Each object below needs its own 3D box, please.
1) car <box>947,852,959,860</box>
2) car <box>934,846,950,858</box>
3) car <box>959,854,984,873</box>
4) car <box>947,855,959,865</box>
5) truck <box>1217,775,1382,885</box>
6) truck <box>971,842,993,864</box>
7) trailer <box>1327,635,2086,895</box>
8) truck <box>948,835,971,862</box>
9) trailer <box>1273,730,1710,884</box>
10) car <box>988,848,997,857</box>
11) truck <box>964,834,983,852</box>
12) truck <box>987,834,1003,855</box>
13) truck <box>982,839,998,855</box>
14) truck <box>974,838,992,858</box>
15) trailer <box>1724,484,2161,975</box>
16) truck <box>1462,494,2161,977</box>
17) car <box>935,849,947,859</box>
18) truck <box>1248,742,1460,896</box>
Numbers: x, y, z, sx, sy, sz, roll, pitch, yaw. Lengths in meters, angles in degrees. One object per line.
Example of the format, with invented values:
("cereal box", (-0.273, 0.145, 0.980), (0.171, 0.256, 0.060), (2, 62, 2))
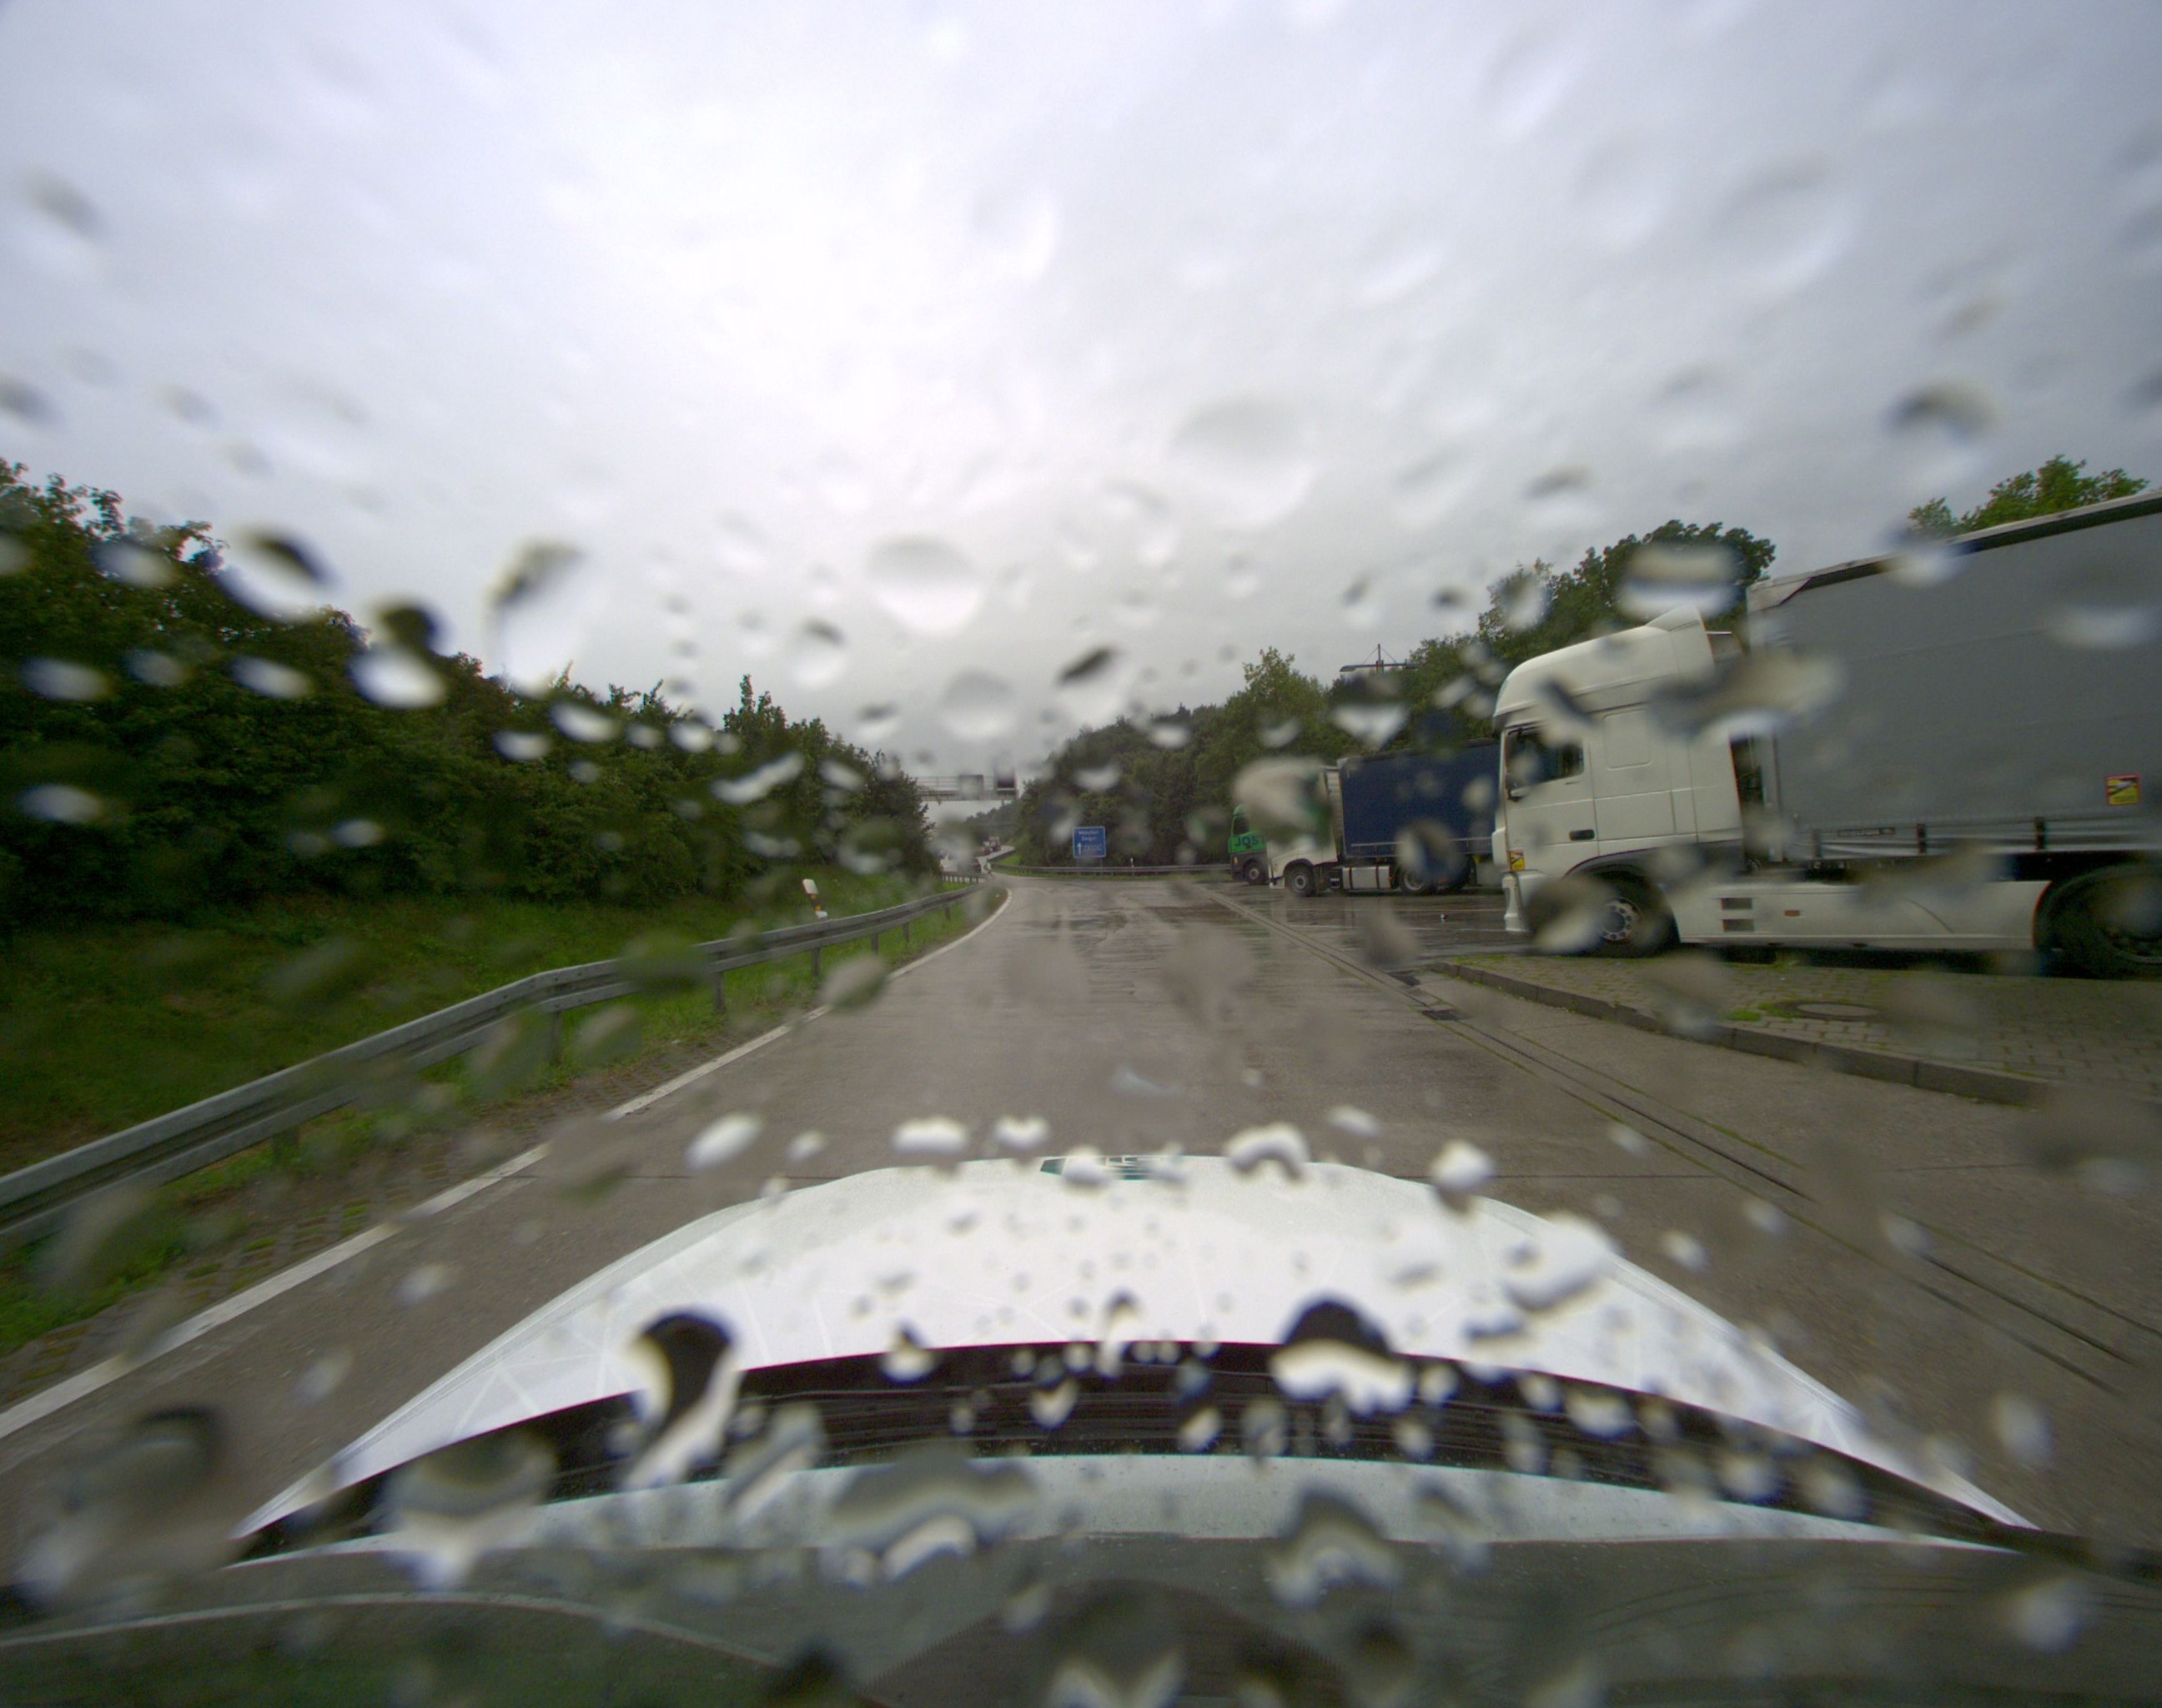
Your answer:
("car", (-29.213, 0.501, 185.913), (1.988, 1.865, 3.998), (0, -1, -1))
("car", (-34.597, -0.424, 202.690), (3.238, 3.002, 6.766), (0, -1, -3))
("car", (-10.156, 0.868, 75.204), (1.995, 1.636, 3.983), (0, -1, -12))
("car", (-24.034, 1.123, 152.938), (1.794, 1.904, 3.995), (-1, -1, -3))
("truck", (9.149, -0.897, 34.569), (2.843, 4.149, 5.924), (-3, -1, -43))
("truck", (-20.626, -0.272, 170.046), (3.593, 4.104, 11.544), (-4, 1, -4))
("trailer", (12.979, -1.277, 19.625), (2.842, 4.171, 13.825), (-3, -1, -42))
("truck", (-25.401, -1.005, 171.064), (3.745, 5.499, 10.163), (0, -1, -2))
("trailer", (13.790, -1.244, 29.537), (2.843, 4.149, 13.796), (-3, -1, -43))
("car", (-21.407, -0.359, 197.416), (1.794, 1.903, 3.995), (-4, 0, -3))
("truck", (-27.191, -2.757, 206.893), (3.568, 4.095, 10.869), (-3, 0, -2))
("truck", (-24.167, -2.603, 229.514), (4.329, 5.764, 9.714), (0, -1, -5))
("truck", (-23.474, -1.666, 210.982), (3.748, 3.970, 11.040), (0, -1, -5))
("truck", (-22.348, -1.310, 186.127), (3.501, 4.268, 10.586), (0, -1, -4))
("trailer", (12.525, -1.250, 4.363), (2.860, 3.919, 13.786), (-3, 0, -42))
("truck", (7.877, -0.911, 9.508), (2.847, 3.912, 5.345), (-3, 0, -43))
("car", (-27.857, 0.020, 162.135), (1.793, 1.903, 3.996), (-4, 0, -3))
("truck", (8.237, -0.902, 24.991), (2.842, 4.145, 5.239), (-3, -1, -42))
